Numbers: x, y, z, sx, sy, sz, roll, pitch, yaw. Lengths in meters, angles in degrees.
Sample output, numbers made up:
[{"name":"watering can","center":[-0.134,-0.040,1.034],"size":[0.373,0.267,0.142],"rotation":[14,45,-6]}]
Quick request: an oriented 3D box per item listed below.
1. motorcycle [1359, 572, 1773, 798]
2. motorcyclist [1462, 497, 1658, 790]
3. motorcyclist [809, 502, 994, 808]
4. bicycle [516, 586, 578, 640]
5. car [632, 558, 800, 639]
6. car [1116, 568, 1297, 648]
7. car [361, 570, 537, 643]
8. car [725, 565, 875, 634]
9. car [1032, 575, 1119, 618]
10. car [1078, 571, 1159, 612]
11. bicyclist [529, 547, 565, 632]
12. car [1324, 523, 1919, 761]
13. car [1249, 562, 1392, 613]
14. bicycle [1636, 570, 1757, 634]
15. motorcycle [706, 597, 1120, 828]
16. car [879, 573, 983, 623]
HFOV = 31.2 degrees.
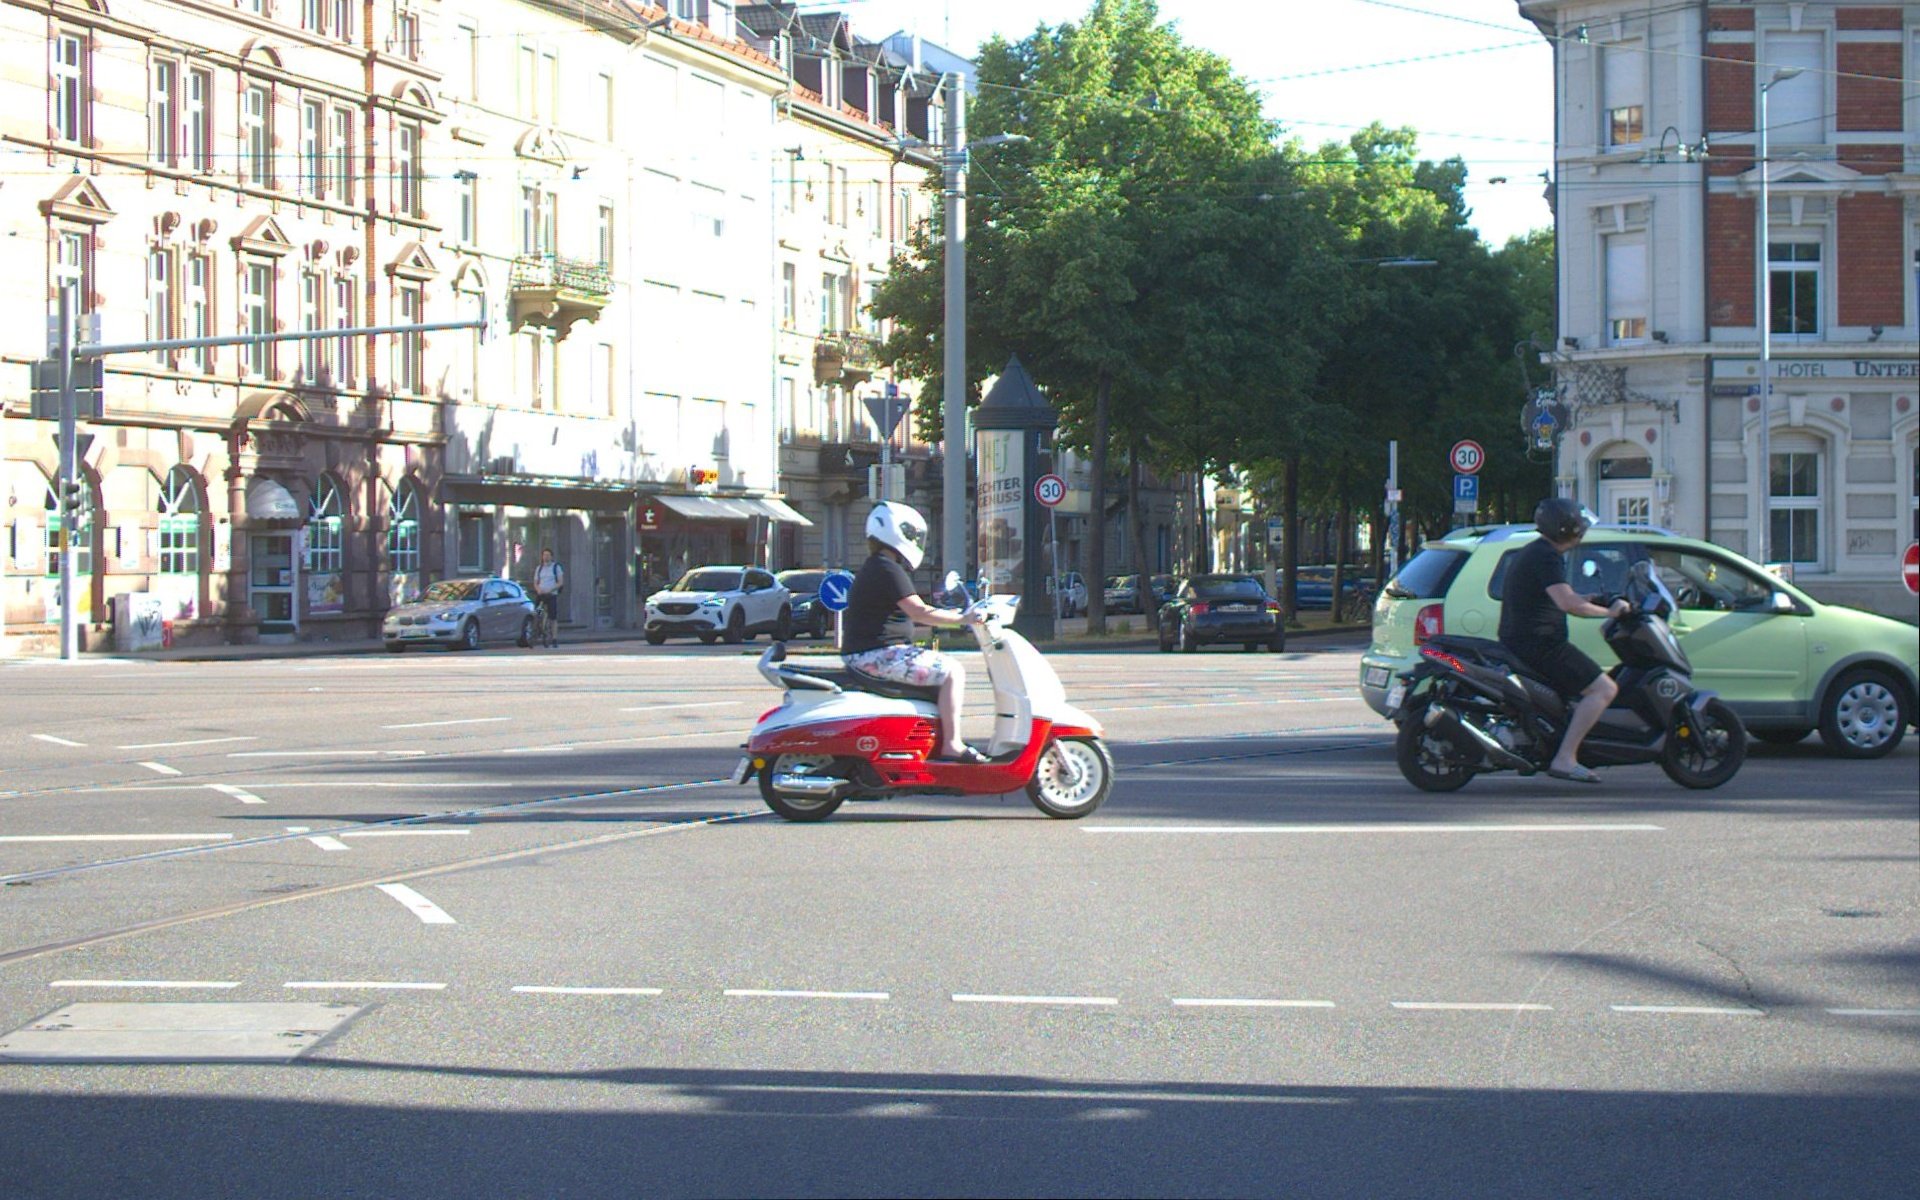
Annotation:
[{"name":"motorcycle","center":[3.421,0.462,19.447],"size":[2.204,1.224,0.695],"rotation":[0,1,-11]},{"name":"motorcyclist","center":[3.389,0.240,19.480],"size":[0.831,1.615,0.816],"rotation":[1,0,-12]},{"name":"motorcyclist","center":[-0.301,0.263,17.307],"size":[0.814,1.502,0.660],"rotation":[0,1,-12]},{"name":"bicycle","center":[-7.841,0.237,65.297],"size":[0.655,0.997,1.664],"rotation":[1,1,12]},{"name":"car","center":[-4.745,-0.048,67.467],"size":[1.995,1.511,4.166],"rotation":[0,1,16]},{"name":"car","center":[4.198,0.116,59.265],"size":[1.716,1.296,4.075],"rotation":[0,1,-18]},{"name":"car","center":[-9.921,0.107,67.040],"size":[1.995,1.357,3.816],"rotation":[0,1,16]},{"name":"car","center":[-3.392,-0.035,73.640],"size":[1.995,1.400,4.166],"rotation":[0,1,16]},{"name":"car","center":[3.947,-0.141,116.856],"size":[1.995,1.400,4.166],"rotation":[0,1,16]},{"name":"car","center":[5.660,-0.330,122.575],"size":[1.995,1.400,4.166],"rotation":[0,1,16]},{"name":"bicyclist","center":[-7.833,-0.198,65.190],"size":[0.489,1.596,0.666],"rotation":[0,1,10]},{"name":"car","center":[4.553,0.243,22.842],"size":[3.954,1.493,1.742],"rotation":[0,1,-7]},{"name":"car","center":[10.455,-0.354,99.680],"size":[3.989,1.450,1.681],"rotation":[0,1,11]},{"name":"bicycle","center":[12.276,0.028,57.338],"size":[1.953,1.050,0.715],"rotation":[0,1,10]},{"name":"motorcycle","center":[-0.241,0.553,17.296],"size":[2.025,1.114,0.505],"rotation":[0,1,-11]},{"name":"car","center":[-0.835,-0.084,102.087],"size":[1.995,1.400,4.166],"rotation":[0,1,16]}]
